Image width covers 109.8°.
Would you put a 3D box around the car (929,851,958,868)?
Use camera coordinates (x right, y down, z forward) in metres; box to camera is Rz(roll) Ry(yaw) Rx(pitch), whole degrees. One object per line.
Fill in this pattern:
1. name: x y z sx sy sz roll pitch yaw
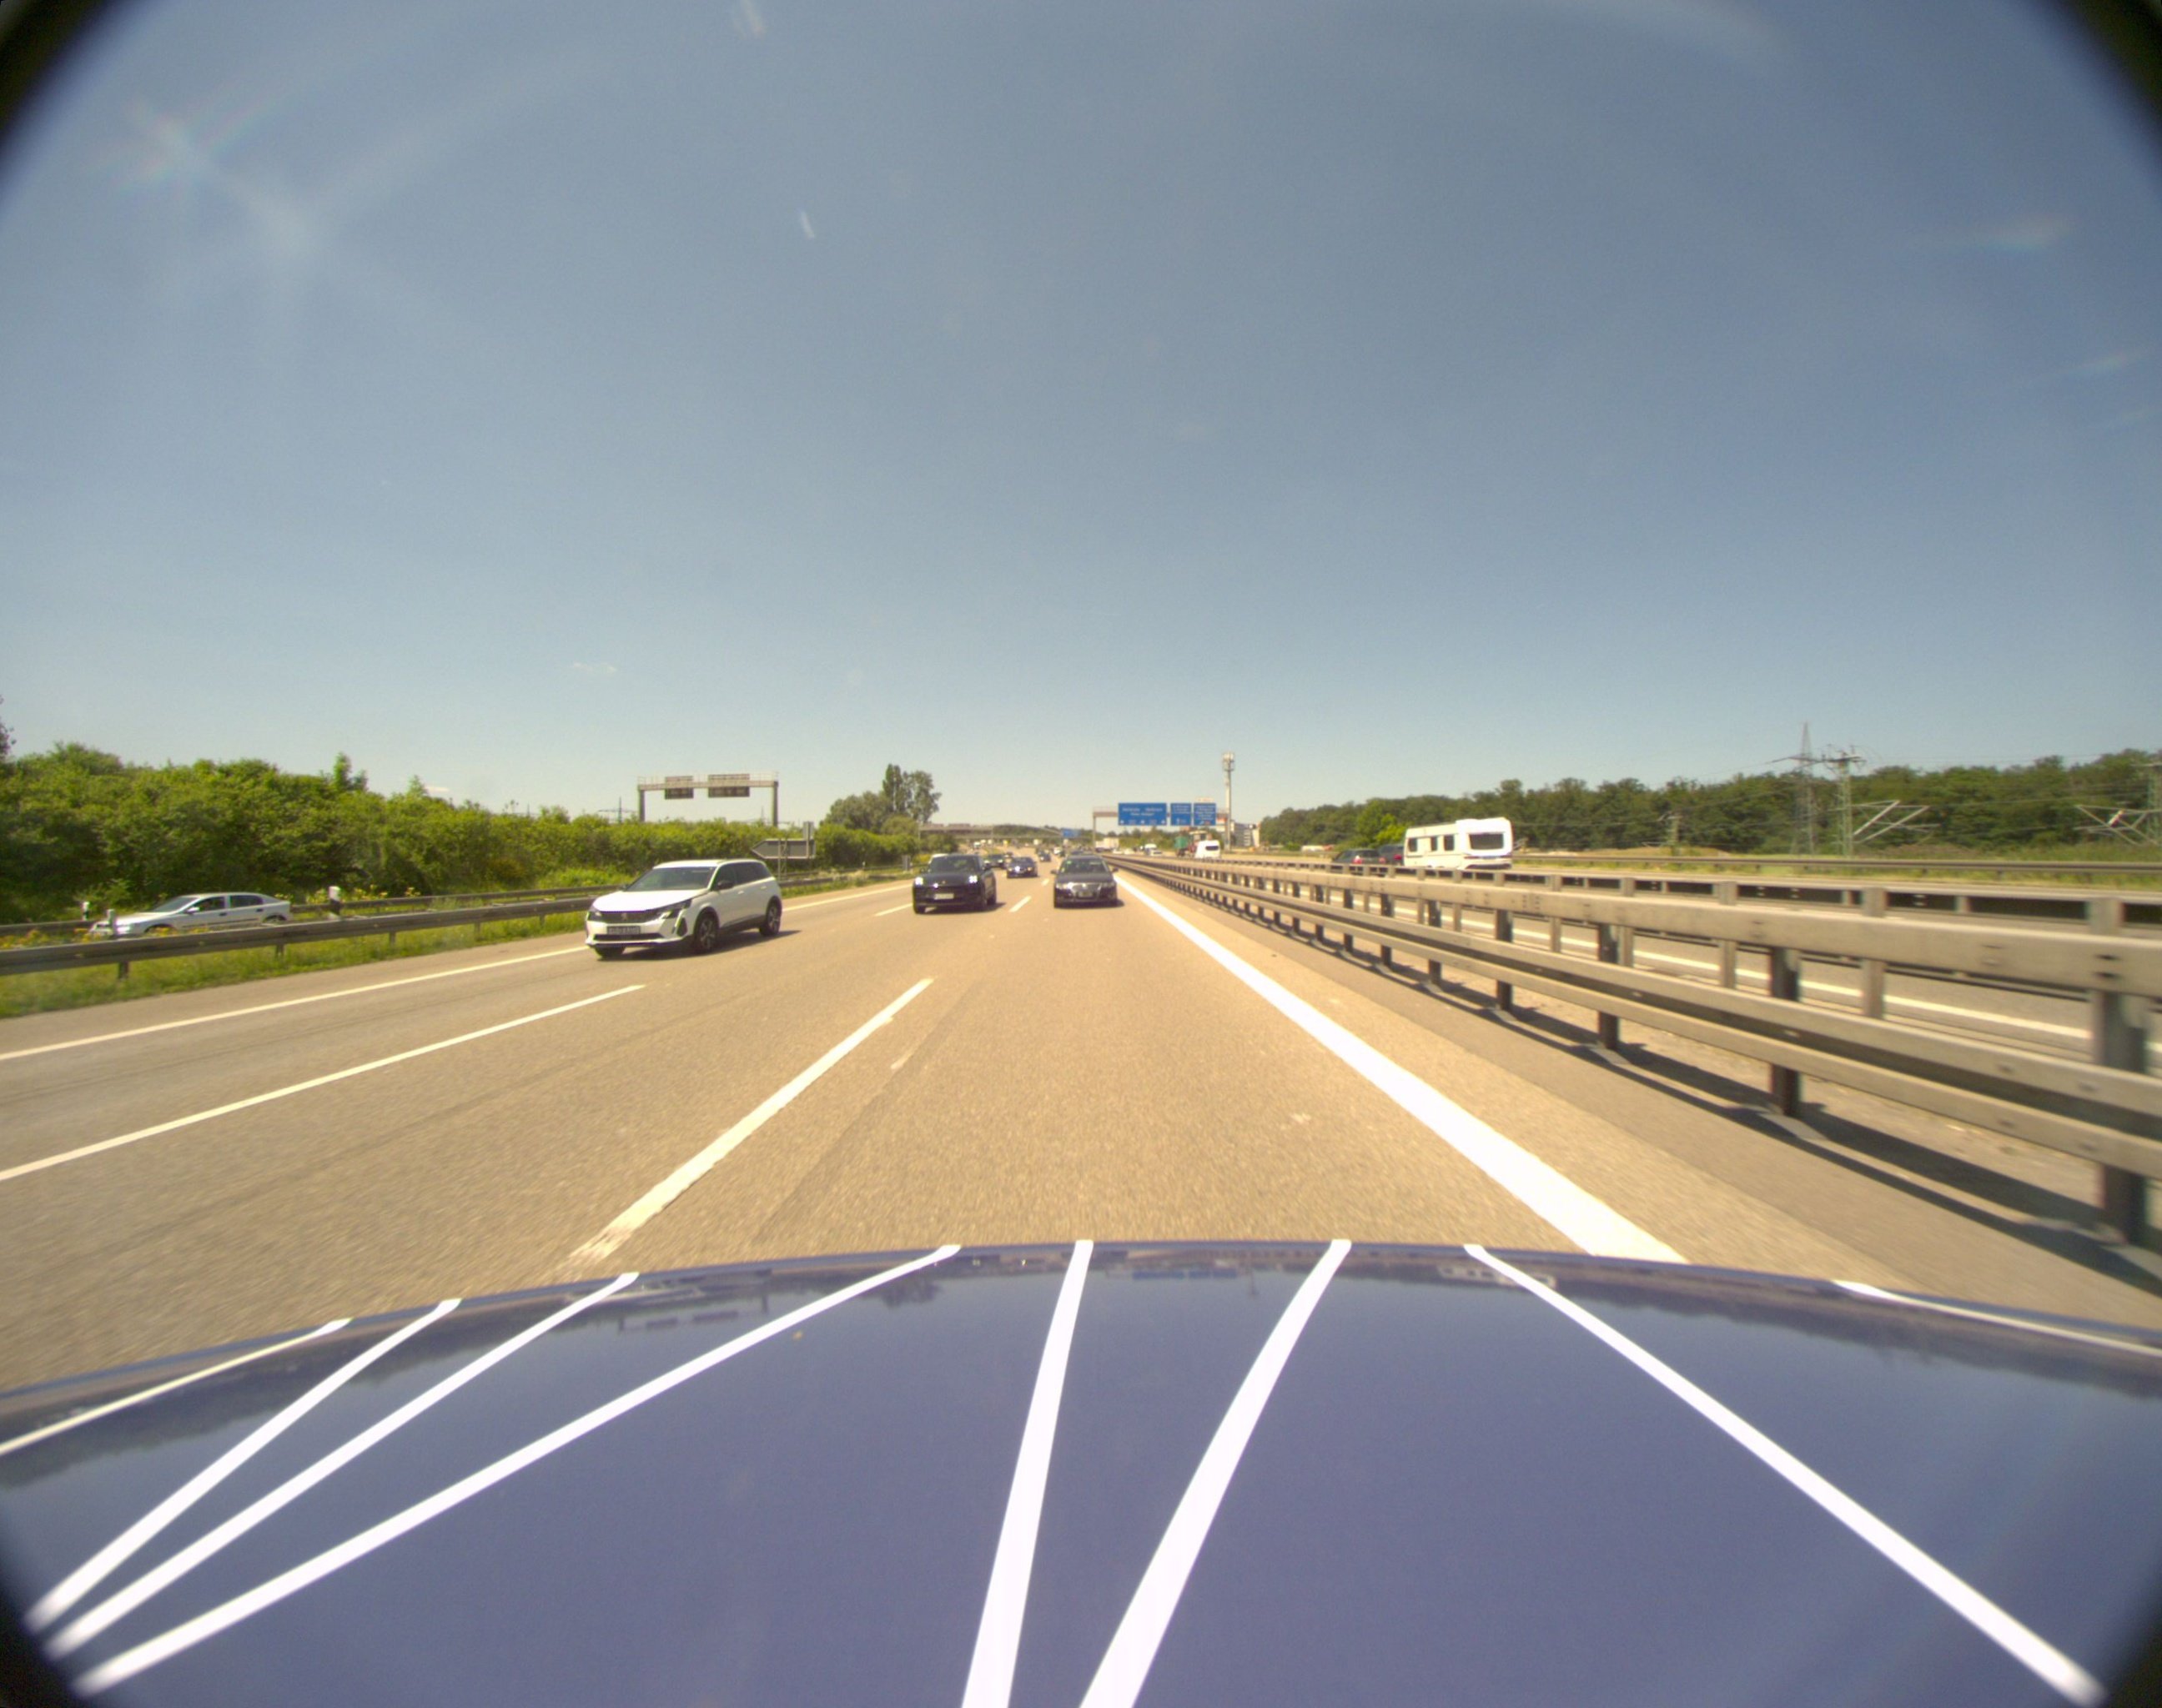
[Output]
1. car: -16.246 0.627 90.162 1.997 2.002 4.766 -1 0 8

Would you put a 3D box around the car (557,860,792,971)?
1. car: -7.298 0.985 14.306 1.898 1.620 4.616 -2 1 0

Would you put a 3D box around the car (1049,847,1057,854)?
1. car: -8.081 -0.952 222.344 1.998 2.002 3.999 -2 1 1

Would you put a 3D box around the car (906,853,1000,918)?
1. car: -3.626 0.824 22.418 1.983 1.620 4.616 -2 1 -1

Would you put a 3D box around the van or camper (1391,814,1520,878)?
1. van or camper: 17.329 -0.364 35.813 2.343 2.641 7.604 -1 1 0

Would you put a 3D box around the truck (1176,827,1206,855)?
1. truck: 16.613 -1.956 115.720 3.426 3.901 8.582 -2 1 1

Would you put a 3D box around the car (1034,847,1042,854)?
1. car: -13.109 -1.177 230.323 1.998 2.002 3.999 -2 1 1

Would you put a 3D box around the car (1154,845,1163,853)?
1. car: 19.922 -1.376 195.287 1.998 2.002 3.999 -2 1 0

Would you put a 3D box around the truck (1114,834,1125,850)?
1. truck: 10.921 -3.464 217.377 2.724 4.282 8.786 -2 1 0

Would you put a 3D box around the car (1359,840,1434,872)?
1. car: 17.361 0.087 42.149 2.071 1.649 4.992 -2 0 0

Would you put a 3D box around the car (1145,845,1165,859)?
1. car: 8.499 -0.221 87.974 1.785 1.457 3.999 -2 1 -2

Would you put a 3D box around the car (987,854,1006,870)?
1. car: -8.522 0.776 77.054 1.752 1.462 3.998 -2 1 -4

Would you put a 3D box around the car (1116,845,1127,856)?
1. car: 7.226 -0.654 135.497 1.785 2.023 3.999 -2 1 0

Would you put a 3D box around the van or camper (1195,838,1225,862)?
1. van or camper: 13.137 -0.416 77.857 1.999 2.327 5.077 -2 1 -2

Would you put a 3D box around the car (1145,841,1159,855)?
1. car: 11.530 -0.956 123.783 1.785 2.169 3.999 -2 1 0

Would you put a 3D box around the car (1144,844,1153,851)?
1. car: 18.684 -1.844 211.202 1.998 2.002 3.999 -2 1 1

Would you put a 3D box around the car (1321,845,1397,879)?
1. car: 13.876 0.353 38.195 1.998 1.500 4.888 -2 1 0

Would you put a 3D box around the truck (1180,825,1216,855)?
1. truck: 16.412 -1.931 107.594 3.394 3.960 12.240 -2 1 2

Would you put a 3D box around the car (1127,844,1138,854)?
1. car: 10.589 -1.011 156.297 1.998 2.002 3.999 -2 1 0

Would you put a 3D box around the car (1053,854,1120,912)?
1. car: 0.160 0.785 22.455 1.752 1.462 3.999 -2 1 0

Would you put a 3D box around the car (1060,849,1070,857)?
1. car: -3.440 -0.280 160.523 1.998 1.691 3.999 -2 1 0

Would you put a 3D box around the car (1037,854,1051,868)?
1. car: -5.623 1.094 116.102 1.998 2.002 3.999 -2 1 0

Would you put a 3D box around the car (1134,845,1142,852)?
1. car: 15.486 -1.493 205.871 1.998 2.002 3.999 -2 1 1

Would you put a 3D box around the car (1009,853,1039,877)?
1. car: -3.742 0.691 50.278 1.752 1.462 3.999 -2 1 -2

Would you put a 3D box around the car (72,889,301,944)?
1. car: -27.139 1.864 23.286 1.896 1.272 4.081 -2 0 12
